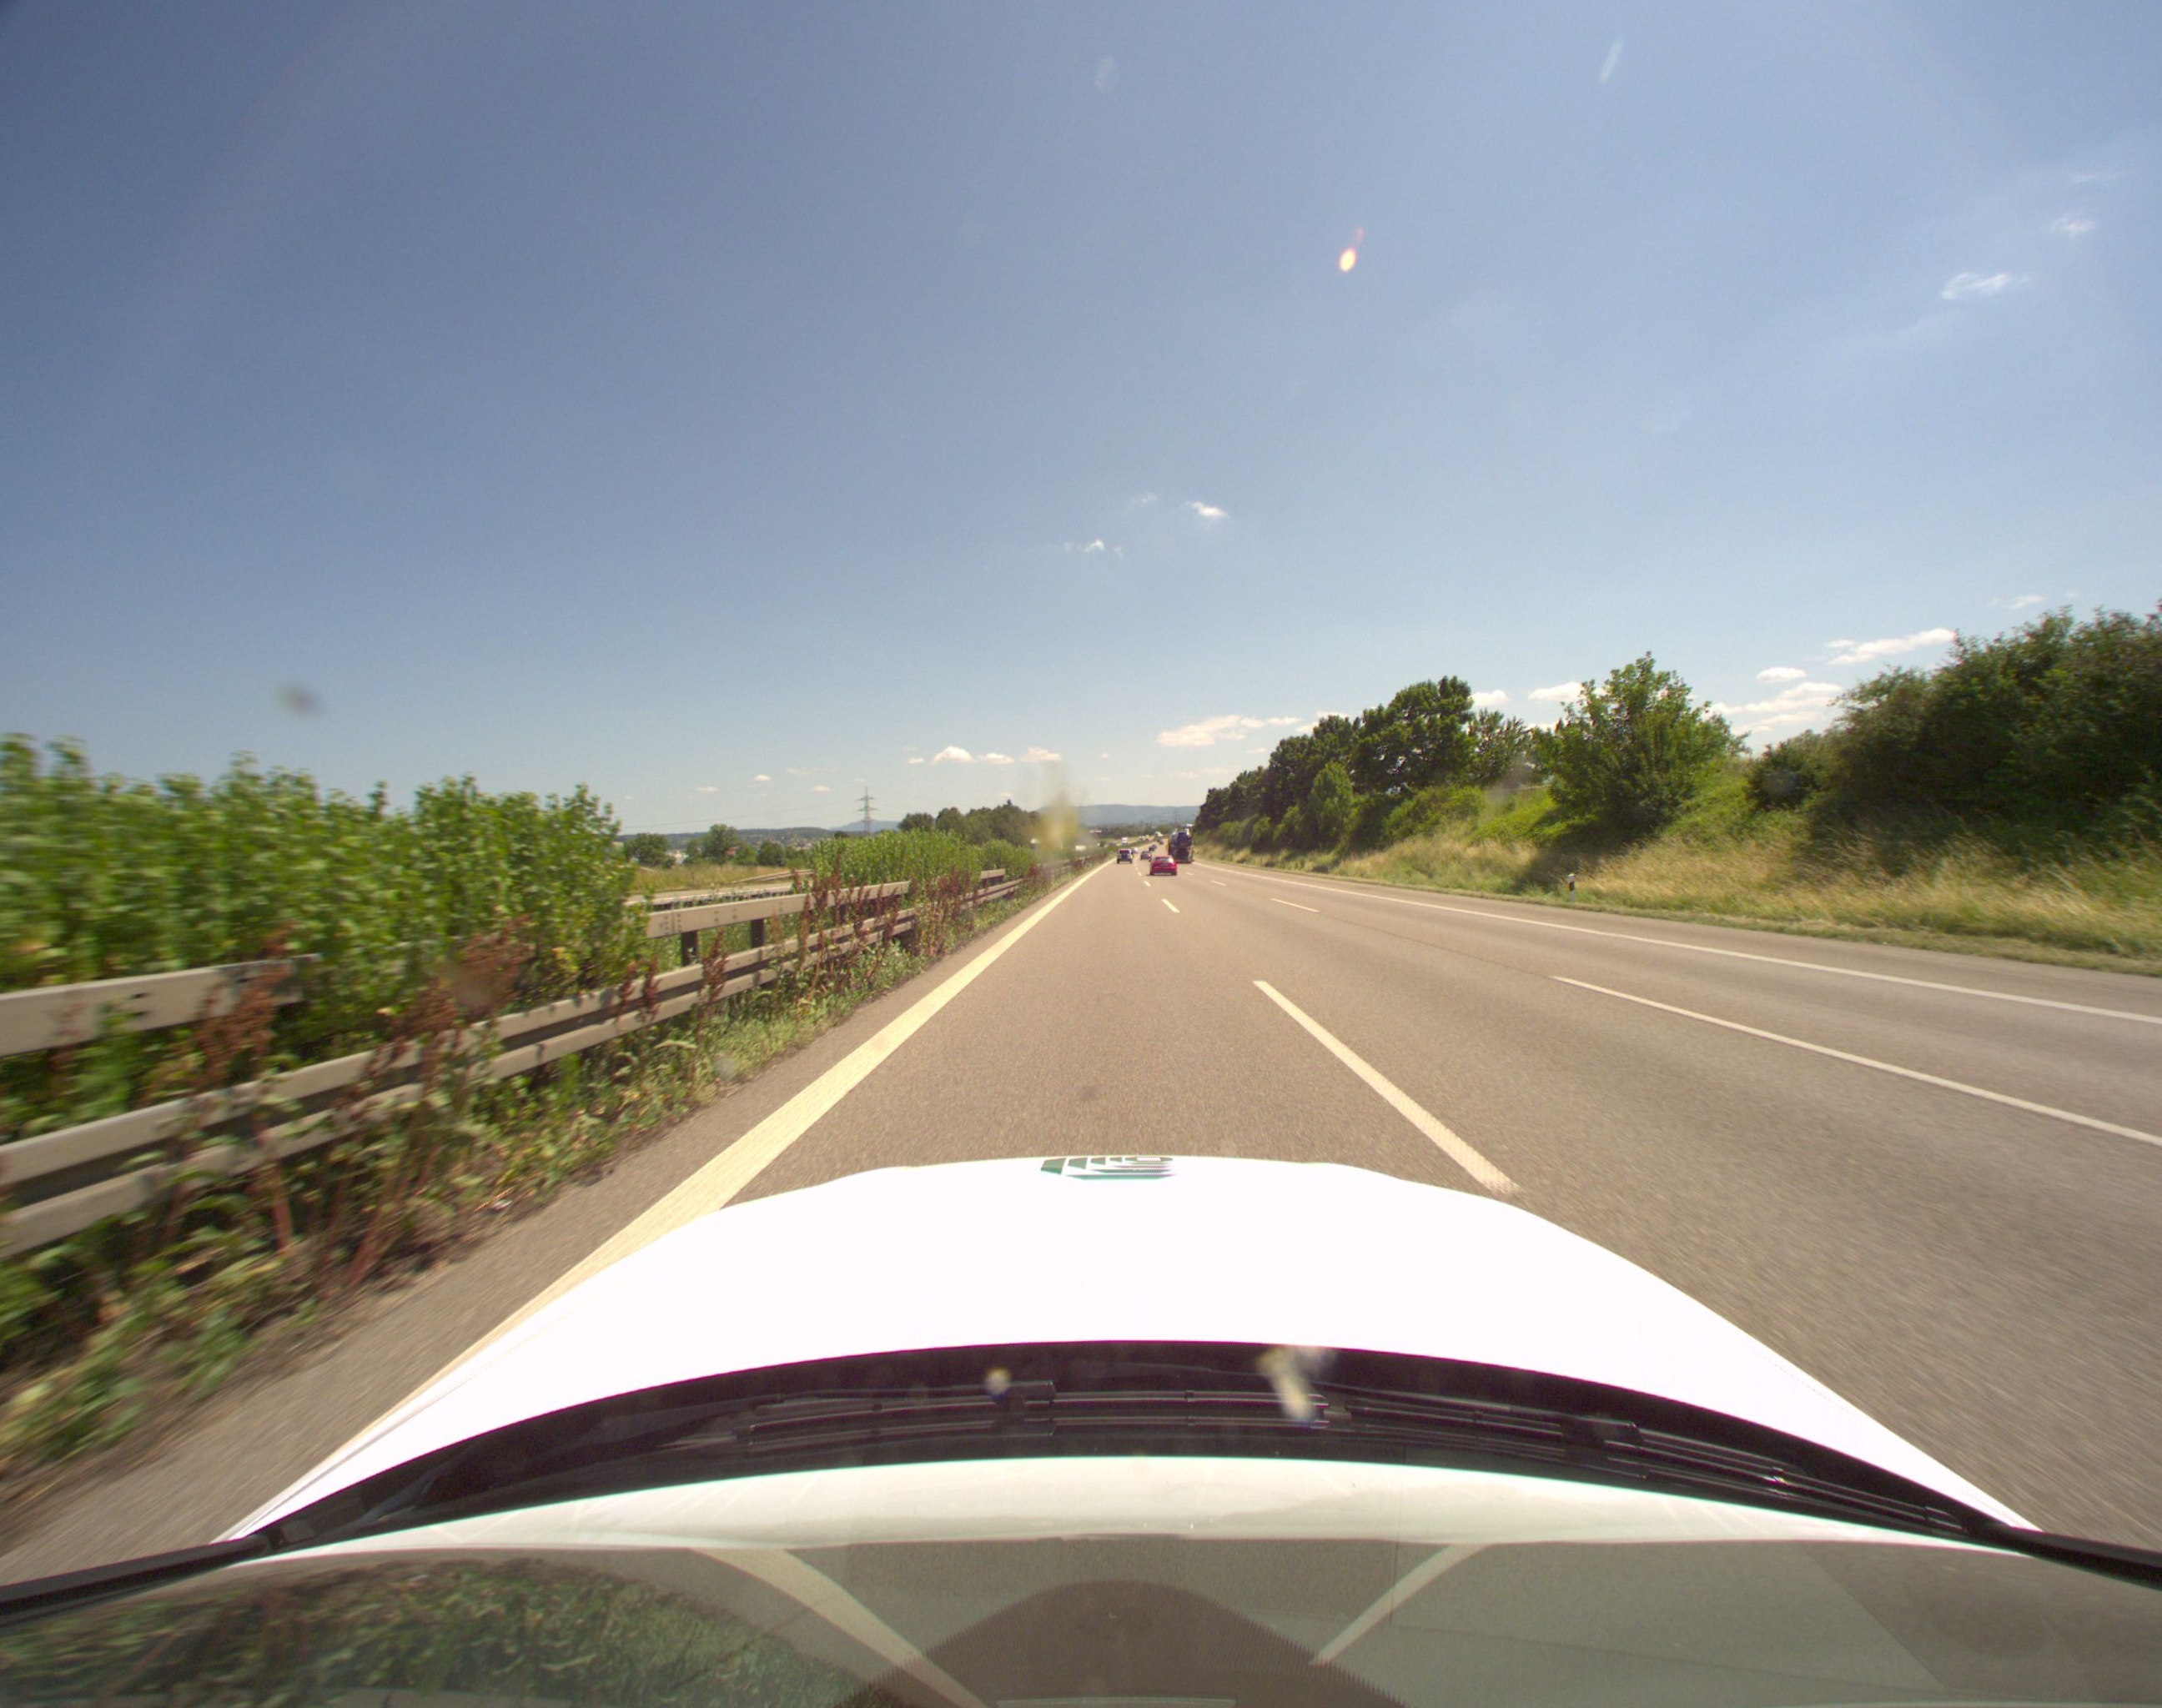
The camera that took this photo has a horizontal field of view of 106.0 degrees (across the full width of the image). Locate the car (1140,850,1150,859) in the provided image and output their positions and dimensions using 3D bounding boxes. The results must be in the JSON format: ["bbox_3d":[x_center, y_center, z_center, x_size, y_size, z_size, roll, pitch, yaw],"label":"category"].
[{"bbox_3d":[10.025,0.078,128.314,1.447,1.267,3.540,0,1,2],"label":"car"}]

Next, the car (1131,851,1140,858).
[{"bbox_3d":[10.264,0.135,154.089,1.448,1.267,3.344,0,1,7],"label":"car"}]

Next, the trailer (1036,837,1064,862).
[{"bbox_3d":[-5.333,-0.900,141.775,3.178,4.076,14.061,0,1,5],"label":"trailer"}]

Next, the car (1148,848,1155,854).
[{"bbox_3d":[19.615,-0.880,227.317,1.626,1.704,3.409,0,1,9],"label":"car"}]

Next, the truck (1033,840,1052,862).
[{"bbox_3d":[-7.407,-0.618,156.635,2.997,4.109,5.629,0,1,5],"label":"truck"}]

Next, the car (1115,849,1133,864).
[{"bbox_3d":[5.445,0.262,104.408,2.077,1.829,4.753,0,1,0],"label":"car"}]

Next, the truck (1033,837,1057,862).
[{"bbox_3d":[-5.936,-0.731,135.225,3.161,4.109,5.233,0,1,5],"label":"truck"}]

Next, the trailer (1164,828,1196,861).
[{"bbox_3d":[12.855,-1.269,106.756,2.844,3.993,15.404,0,1,2],"label":"trailer"}]

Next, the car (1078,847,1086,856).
[{"bbox_3d":[0.187,-0.608,195.967,1.787,2.013,4.002,0,1,2],"label":"car"}]

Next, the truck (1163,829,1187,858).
[{"bbox_3d":[13.105,-1.491,114.513,2.744,3.852,6.646,0,1,1],"label":"truck"}]

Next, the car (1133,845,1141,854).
[{"bbox_3d":[13.856,-1.091,201.359,1.688,2.013,3.832,0,1,9],"label":"car"}]

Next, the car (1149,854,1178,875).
[{"bbox_3d":[5.776,0.734,57.276,1.680,1.379,3.949,0,1,0],"label":"car"}]
